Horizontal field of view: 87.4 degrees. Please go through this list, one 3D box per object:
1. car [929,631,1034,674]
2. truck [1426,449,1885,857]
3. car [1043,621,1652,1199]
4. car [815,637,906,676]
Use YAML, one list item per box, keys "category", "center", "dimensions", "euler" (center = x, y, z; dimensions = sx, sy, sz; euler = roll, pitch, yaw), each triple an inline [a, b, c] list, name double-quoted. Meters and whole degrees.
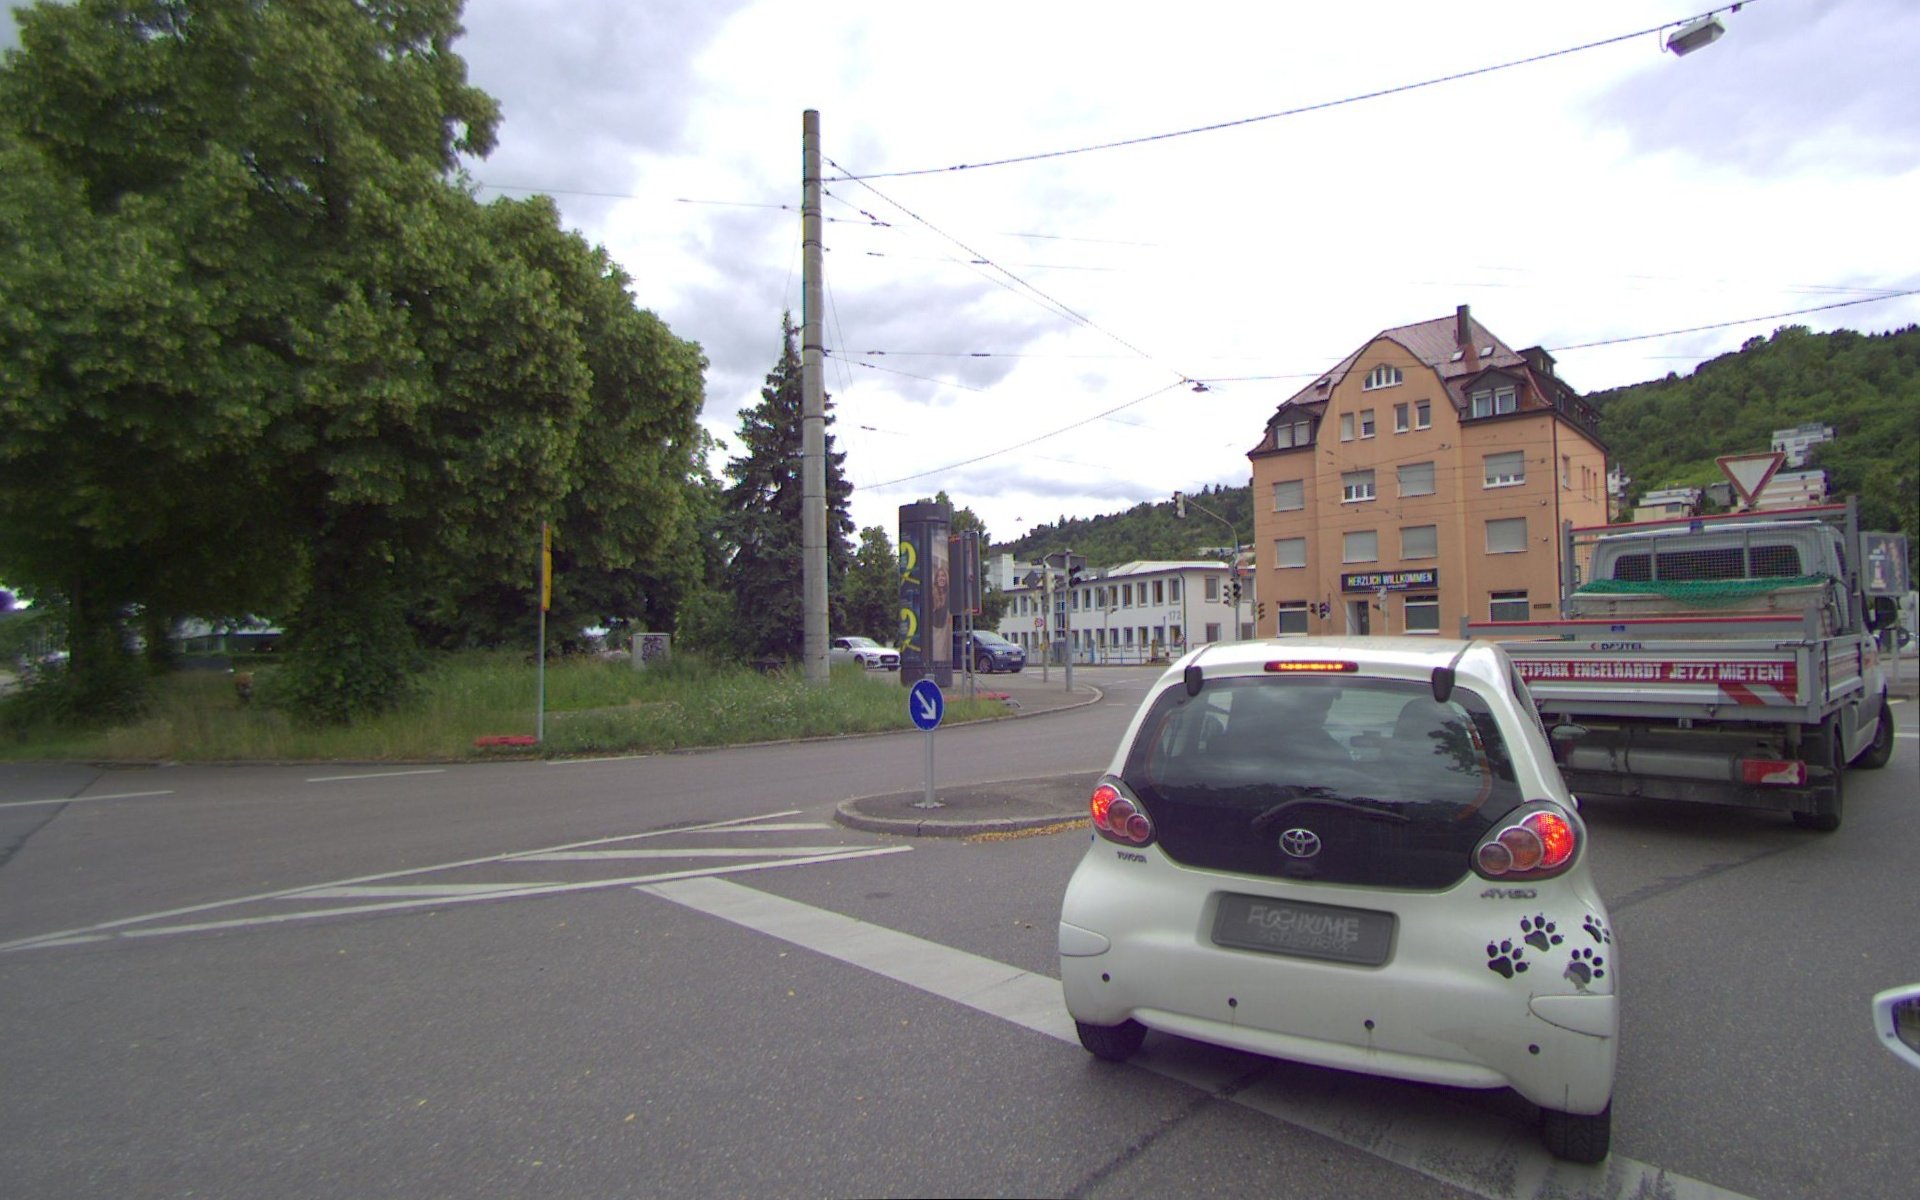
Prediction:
- category: "car"
  center: [0.726, 1.854, 35.760]
  dimensions: [1.736, 1.410, 3.659]
  euler: [0, -3, -41]
- category: "truck"
  center: [6.390, 0.341, 8.852]
  dimensions: [5.617, 2.453, 2.291]
  euler: [-1, -2, -45]
- category: "car"
  center: [1.768, 0.836, 4.296]
  dimensions: [1.569, 1.439, 3.368]
  euler: [2, 0, 28]
- category: "car"
  center: [-4.134, 2.304, 41.131]
  dimensions: [1.734, 1.445, 4.120]
  euler: [0, -2, -39]
